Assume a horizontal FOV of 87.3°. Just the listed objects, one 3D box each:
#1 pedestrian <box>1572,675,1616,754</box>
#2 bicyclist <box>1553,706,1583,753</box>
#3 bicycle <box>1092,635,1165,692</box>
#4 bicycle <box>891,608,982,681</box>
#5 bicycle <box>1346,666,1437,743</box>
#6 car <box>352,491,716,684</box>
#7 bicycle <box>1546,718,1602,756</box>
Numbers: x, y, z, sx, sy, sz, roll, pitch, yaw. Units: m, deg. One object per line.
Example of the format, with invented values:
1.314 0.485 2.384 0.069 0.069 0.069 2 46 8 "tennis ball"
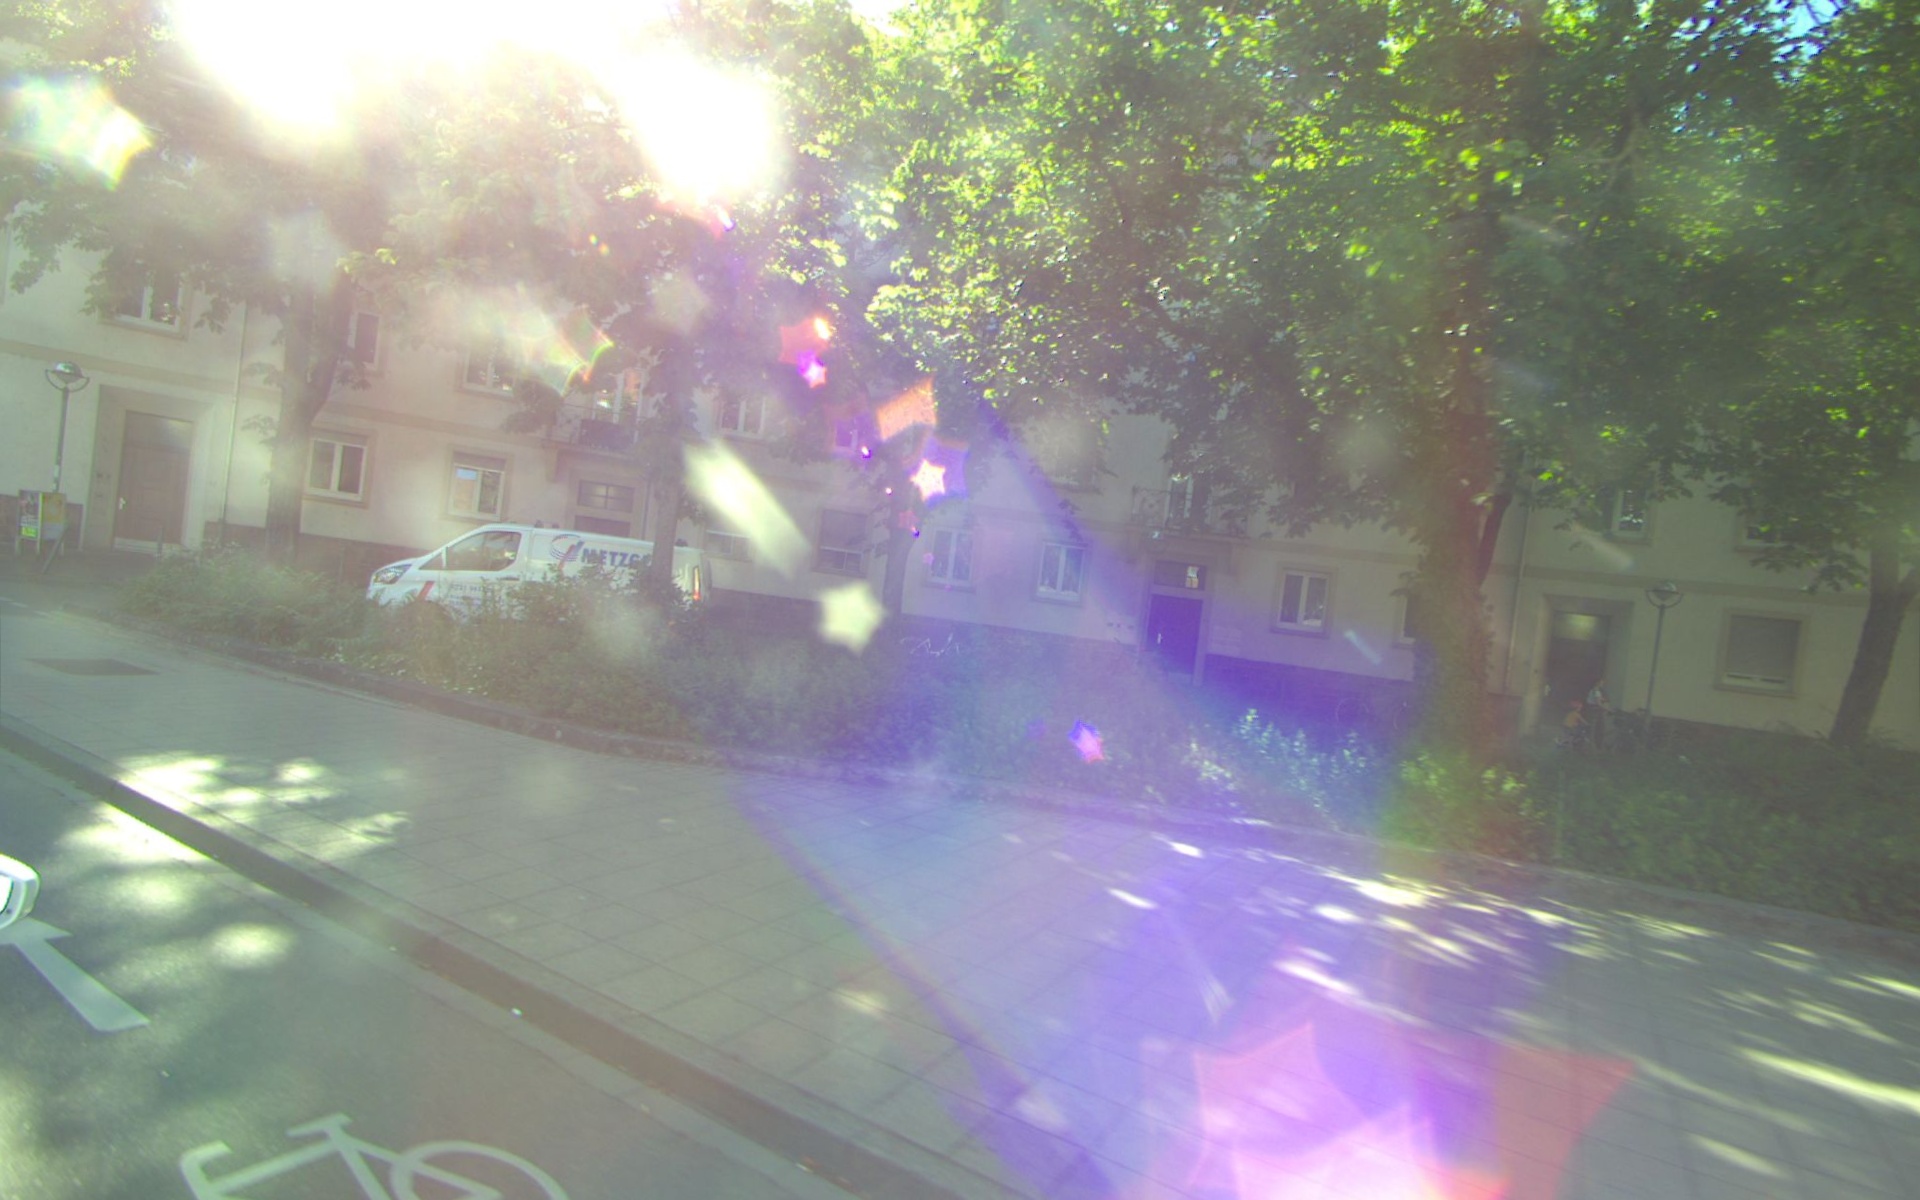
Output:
14.180 2.559 22.511 0.619 1.653 0.571 8 0 31 "pedestrian"
13.201 2.802 21.831 0.386 0.955 0.339 8 0 19 "bicyclist"
3.974 1.491 23.783 1.537 1.131 0.461 7 3 -2 "bicycle"
-0.510 0.962 21.825 1.798 1.297 0.427 8 3 -2 "bicycle"
8.695 2.095 20.306 1.460 1.297 0.428 9 3 13 "bicycle"
-6.282 -0.136 15.429 4.684 2.116 1.683 9 -1 -13 "car"
13.244 2.959 21.719 0.900 0.644 0.433 8 -1 19 "bicycle"
